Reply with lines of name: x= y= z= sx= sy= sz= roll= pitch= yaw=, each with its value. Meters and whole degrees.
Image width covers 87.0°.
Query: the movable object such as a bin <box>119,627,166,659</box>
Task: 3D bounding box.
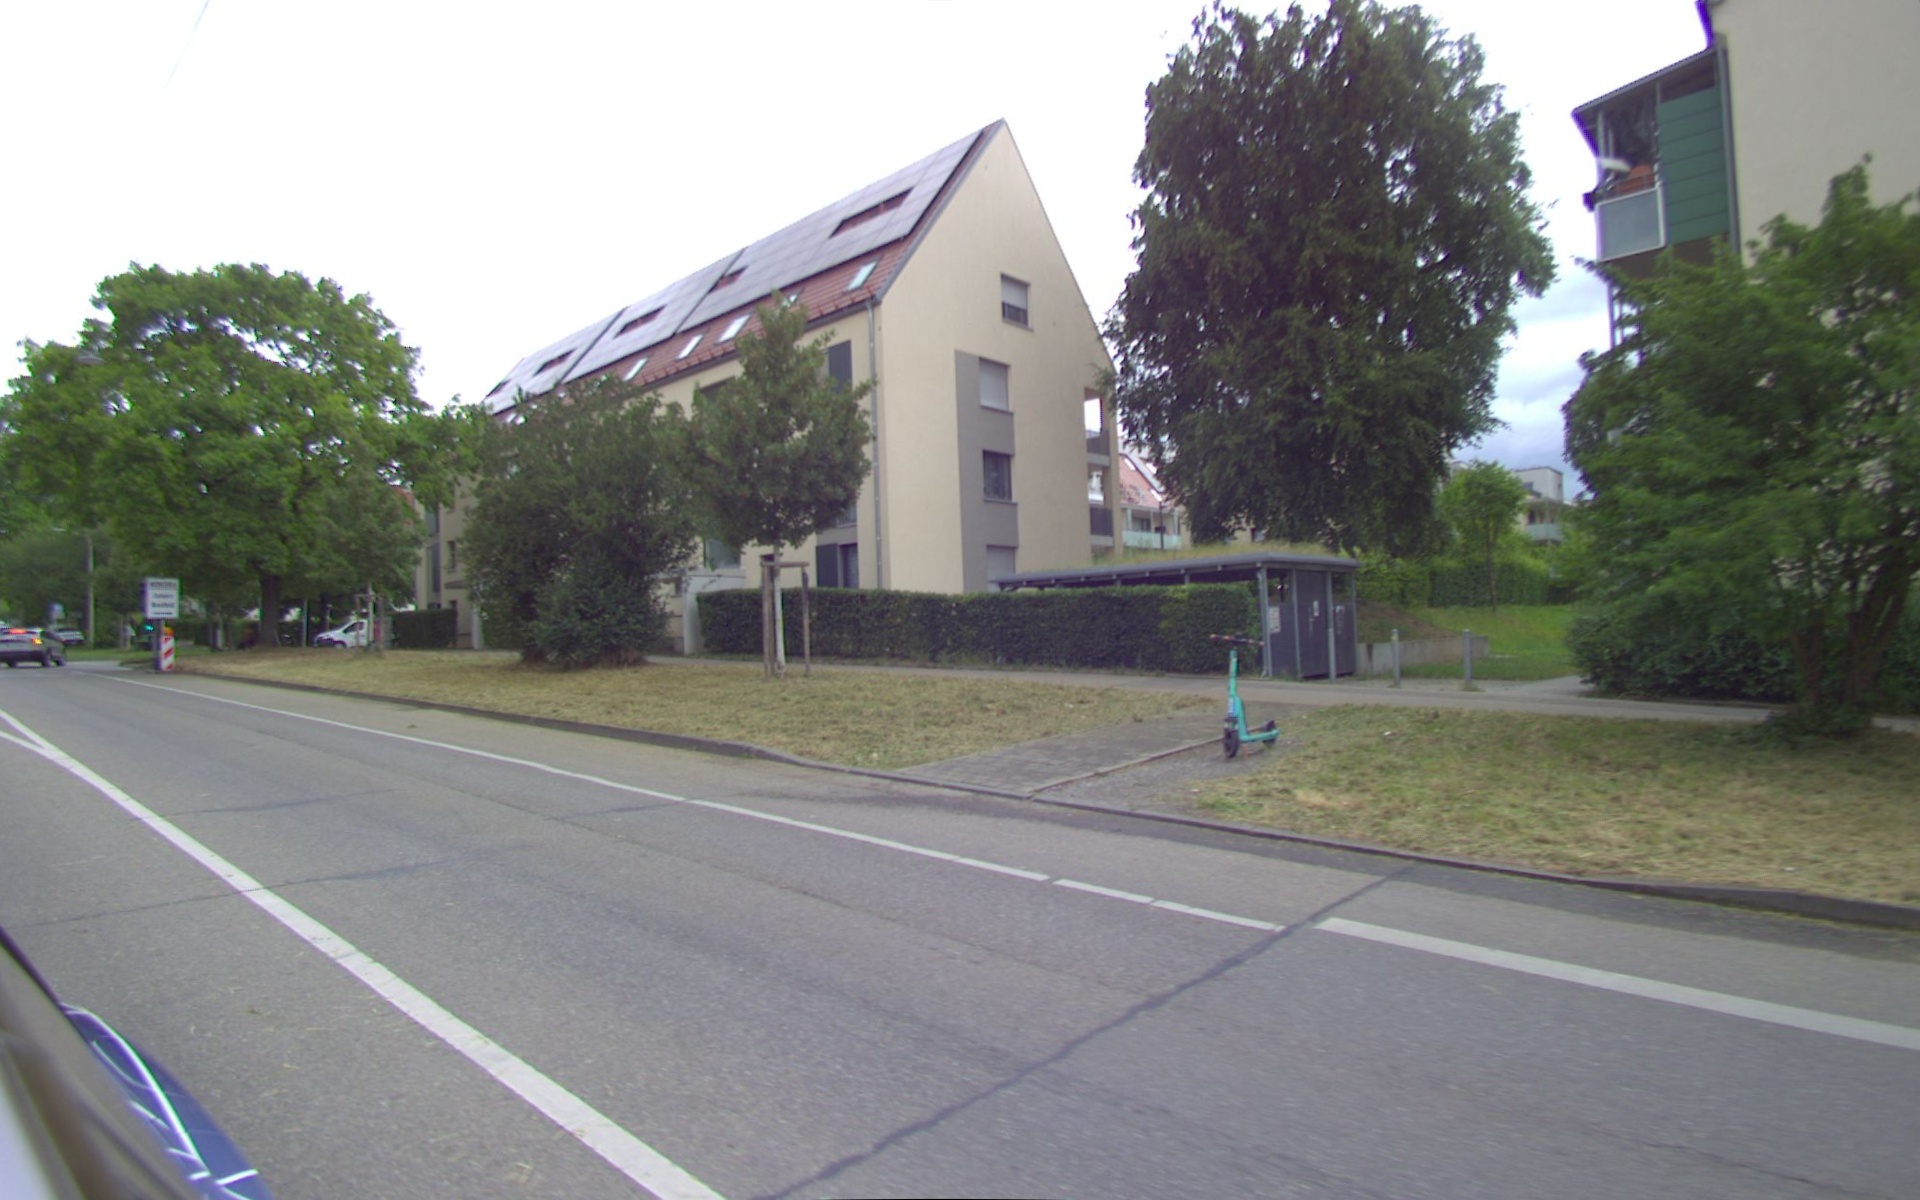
movable object such as a bin: x=-50.806 y=2.681 z=62.900 sx=3.235 sy=1.918 sz=1.088 roll=-2 pitch=-1 yaw=28

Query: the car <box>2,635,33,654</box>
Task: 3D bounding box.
car: x=-74.255 y=3.485 z=79.706 sx=4.001 sy=1.364 sz=1.583 roll=-2 pitch=-1 yaw=44

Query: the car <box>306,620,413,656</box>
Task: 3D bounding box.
car: x=-35.212 y=2.175 z=59.470 sx=2.000 sy=1.932 sz=5.085 roll=-2 pitch=-1 yaw=42

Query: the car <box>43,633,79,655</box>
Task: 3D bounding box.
car: x=-71.899 y=3.484 z=80.932 sx=4.001 sy=1.618 sz=1.835 roll=-2 pitch=-1 yaw=44

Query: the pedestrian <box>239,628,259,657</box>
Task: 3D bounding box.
pedestrian: x=-44.072 y=2.630 z=62.737 sx=0.683 sy=1.770 sz=0.775 roll=-1 pitch=-1 yaw=10

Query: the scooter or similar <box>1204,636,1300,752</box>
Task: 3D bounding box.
scooter or similar: x=3.019 y=0.929 z=10.392 sx=0.466 sy=1.094 sz=1.357 roll=-2 pitch=-2 yaw=38

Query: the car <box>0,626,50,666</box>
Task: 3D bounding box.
car: x=-36.788 y=1.756 z=39.214 sx=4.028 sy=1.475 sz=1.783 roll=-2 pitch=-3 yaw=42
